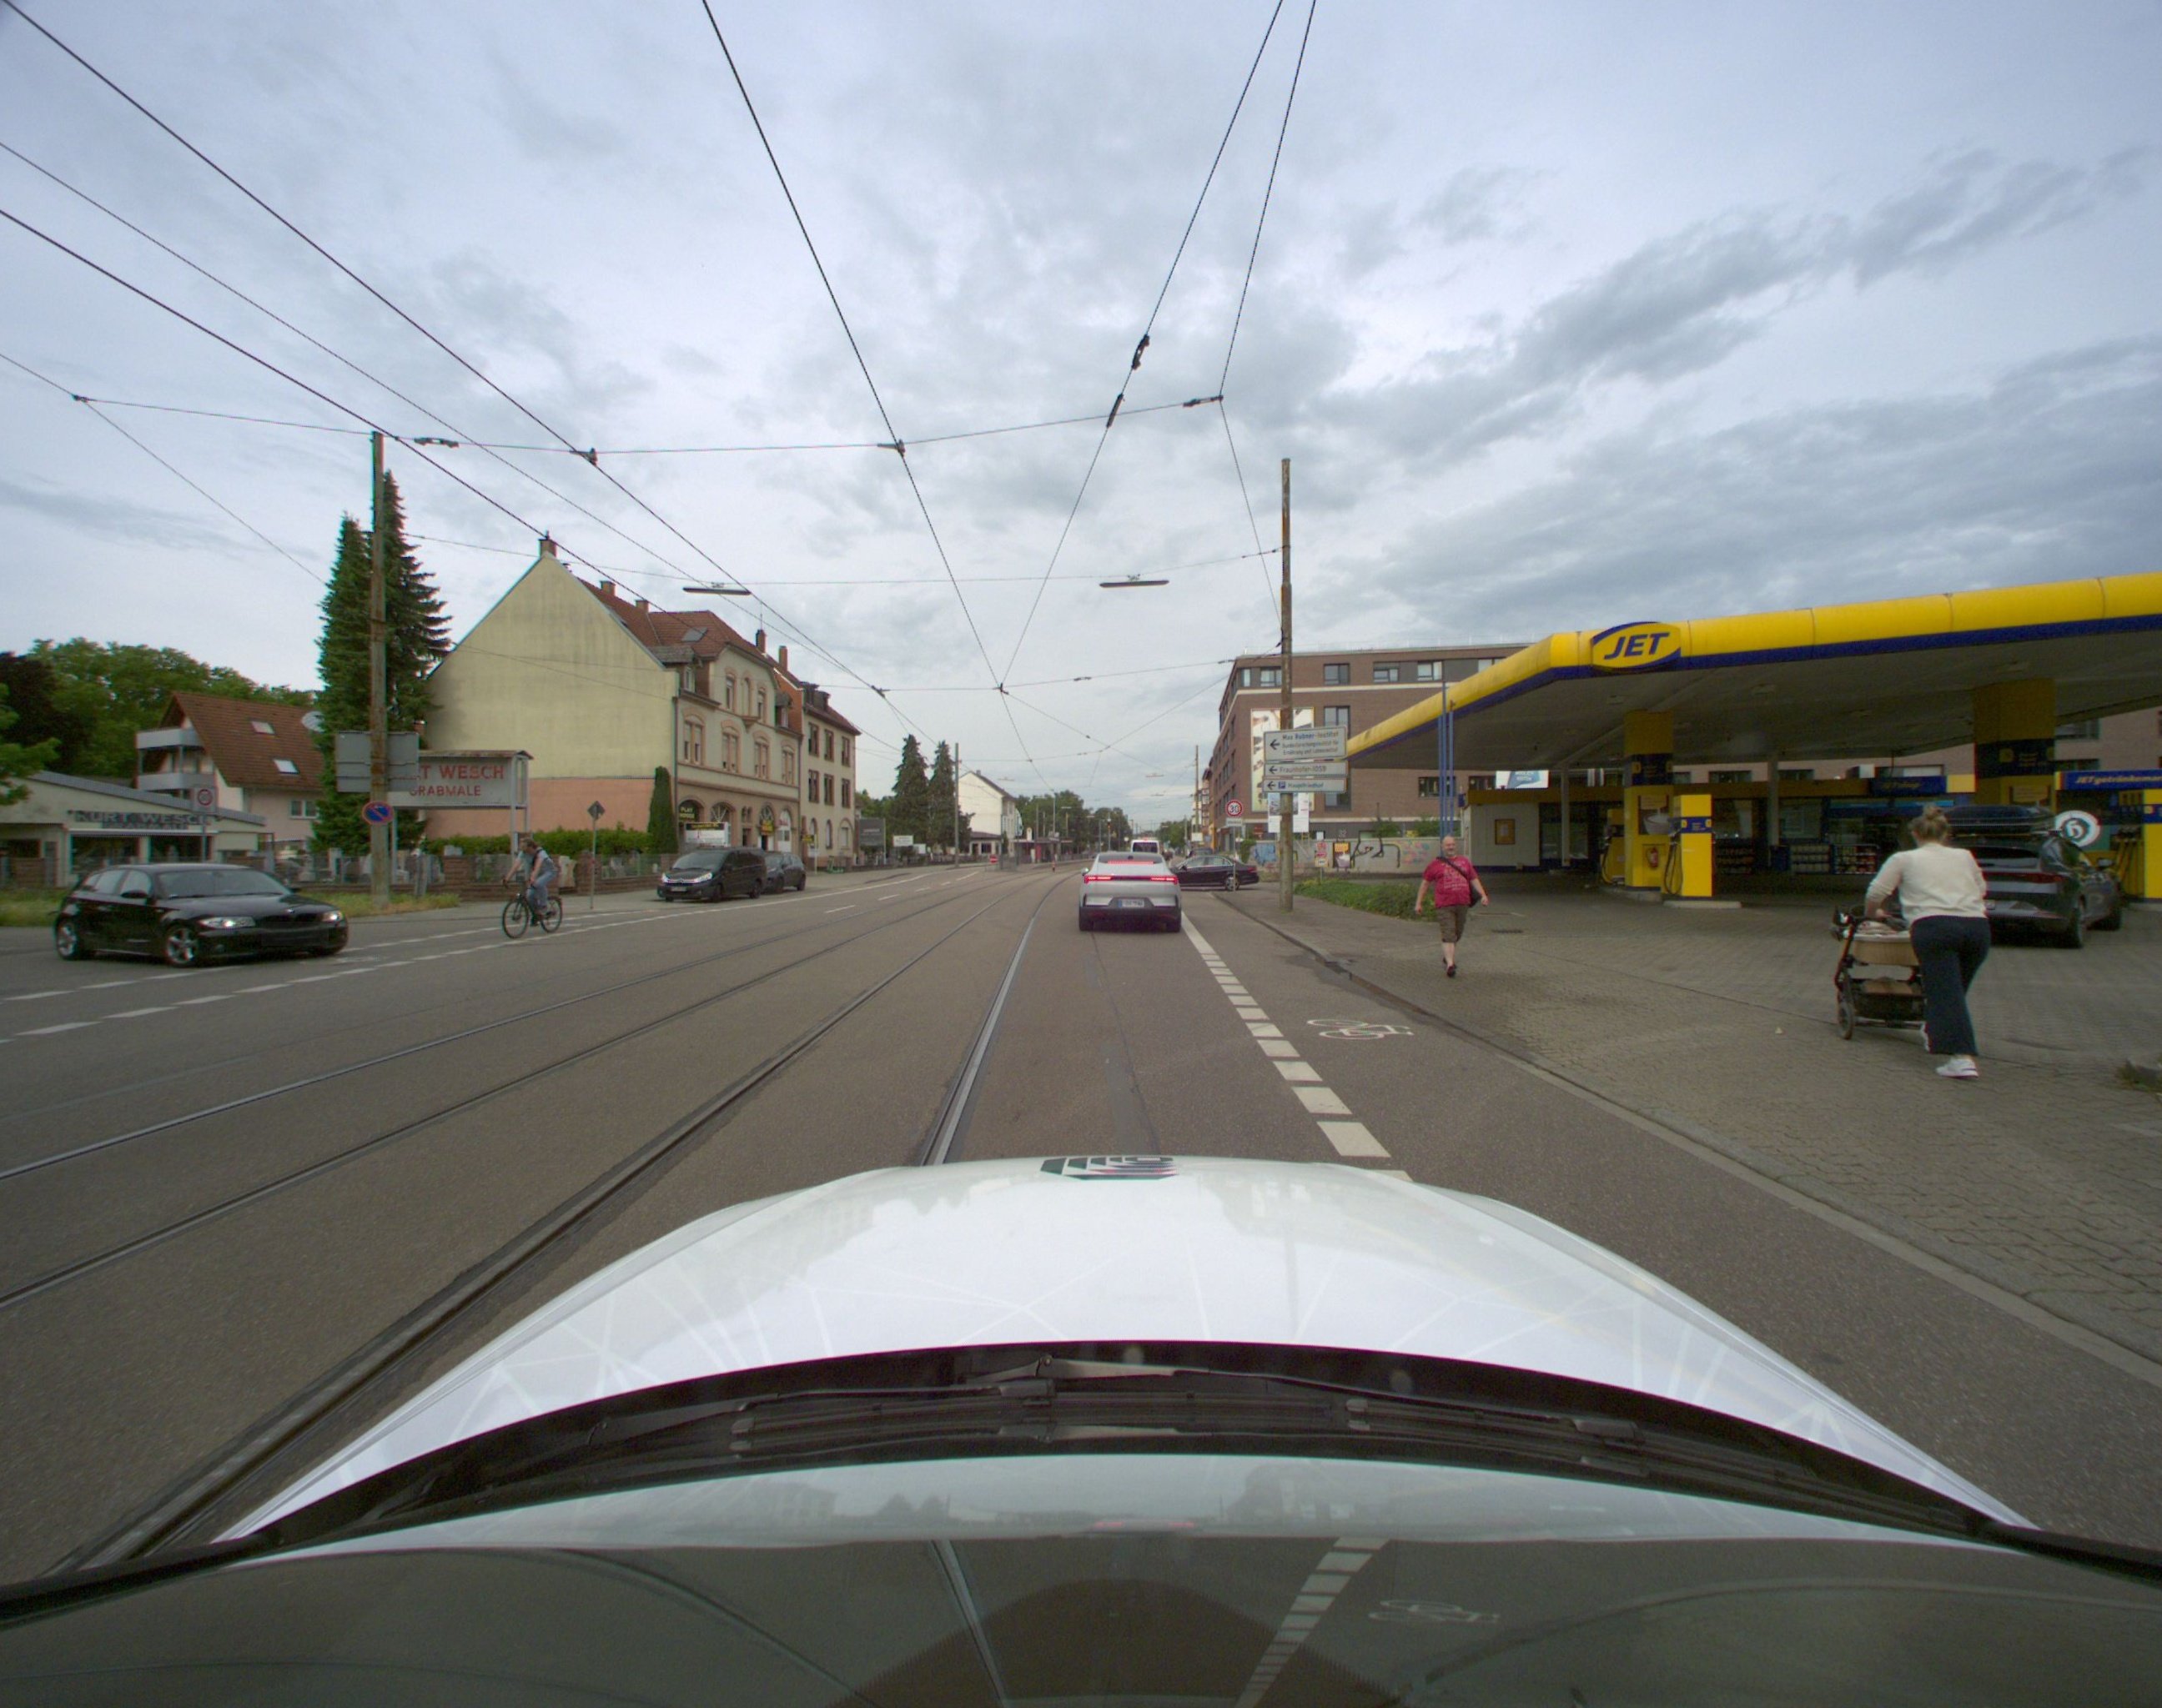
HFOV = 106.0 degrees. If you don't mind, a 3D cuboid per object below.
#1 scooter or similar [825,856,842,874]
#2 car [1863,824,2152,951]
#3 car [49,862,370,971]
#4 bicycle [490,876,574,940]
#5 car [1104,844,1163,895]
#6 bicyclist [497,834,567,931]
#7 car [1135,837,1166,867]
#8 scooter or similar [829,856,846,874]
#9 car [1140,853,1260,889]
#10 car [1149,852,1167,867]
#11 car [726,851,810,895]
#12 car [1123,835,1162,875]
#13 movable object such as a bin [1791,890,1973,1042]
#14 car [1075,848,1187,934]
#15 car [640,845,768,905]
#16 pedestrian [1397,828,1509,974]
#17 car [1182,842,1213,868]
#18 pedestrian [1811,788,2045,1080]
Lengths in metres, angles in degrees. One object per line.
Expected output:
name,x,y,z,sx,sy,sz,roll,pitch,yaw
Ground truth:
scooter or similar,-16.791,0.767,55.309,1.056,1.188,0.315,1,-1,-34
car,13.718,0.387,12.022,4.339,1.497,1.977,-2,1,-30
car,-12.876,0.831,12.073,3.887,1.388,1.811,0,0,19
bicycle,-10.339,0.989,15.405,0.587,1.074,1.949,-2,0,-11
car,1.890,0.565,30.505,1.962,1.756,3.837,1,-1,0
bicyclist,-10.350,0.524,15.395,0.736,1.749,0.975,-2,0,-12
car,5.252,-0.101,62.184,2.131,2.145,4.745,1,-1,2
scooter or similar,-16.414,0.767,54.849,1.056,1.188,0.315,1,-1,-34
car,4.994,0.705,34.082,4.840,1.427,1.958,-1,0,10
car,10.321,0.781,109.791,1.988,2.014,3.997,1,-1,-1
car,-13.154,0.772,34.473,1.838,1.718,4.193,1,-1,1
car,3.902,0.071,52.579,2.209,2.423,4.952,1,-1,1
movable object such as a bin,6.334,0.846,6.511,0.760,1.039,1.030,-4,-1,30
car,0.904,0.677,16.990,1.976,1.550,4.181,1,0,-1
car,-13.029,0.684,28.585,1.984,1.887,4.999,1,-1,2
pedestrian,4.694,0.576,10.339,0.968,1.738,0.861,-3,-1,1
car,8.680,0.083,60.836,1.867,1.823,4.098,1,-1,2
pedestrian,5.831,0.499,5.704,0.760,1.797,1.169,-4,-1,30
